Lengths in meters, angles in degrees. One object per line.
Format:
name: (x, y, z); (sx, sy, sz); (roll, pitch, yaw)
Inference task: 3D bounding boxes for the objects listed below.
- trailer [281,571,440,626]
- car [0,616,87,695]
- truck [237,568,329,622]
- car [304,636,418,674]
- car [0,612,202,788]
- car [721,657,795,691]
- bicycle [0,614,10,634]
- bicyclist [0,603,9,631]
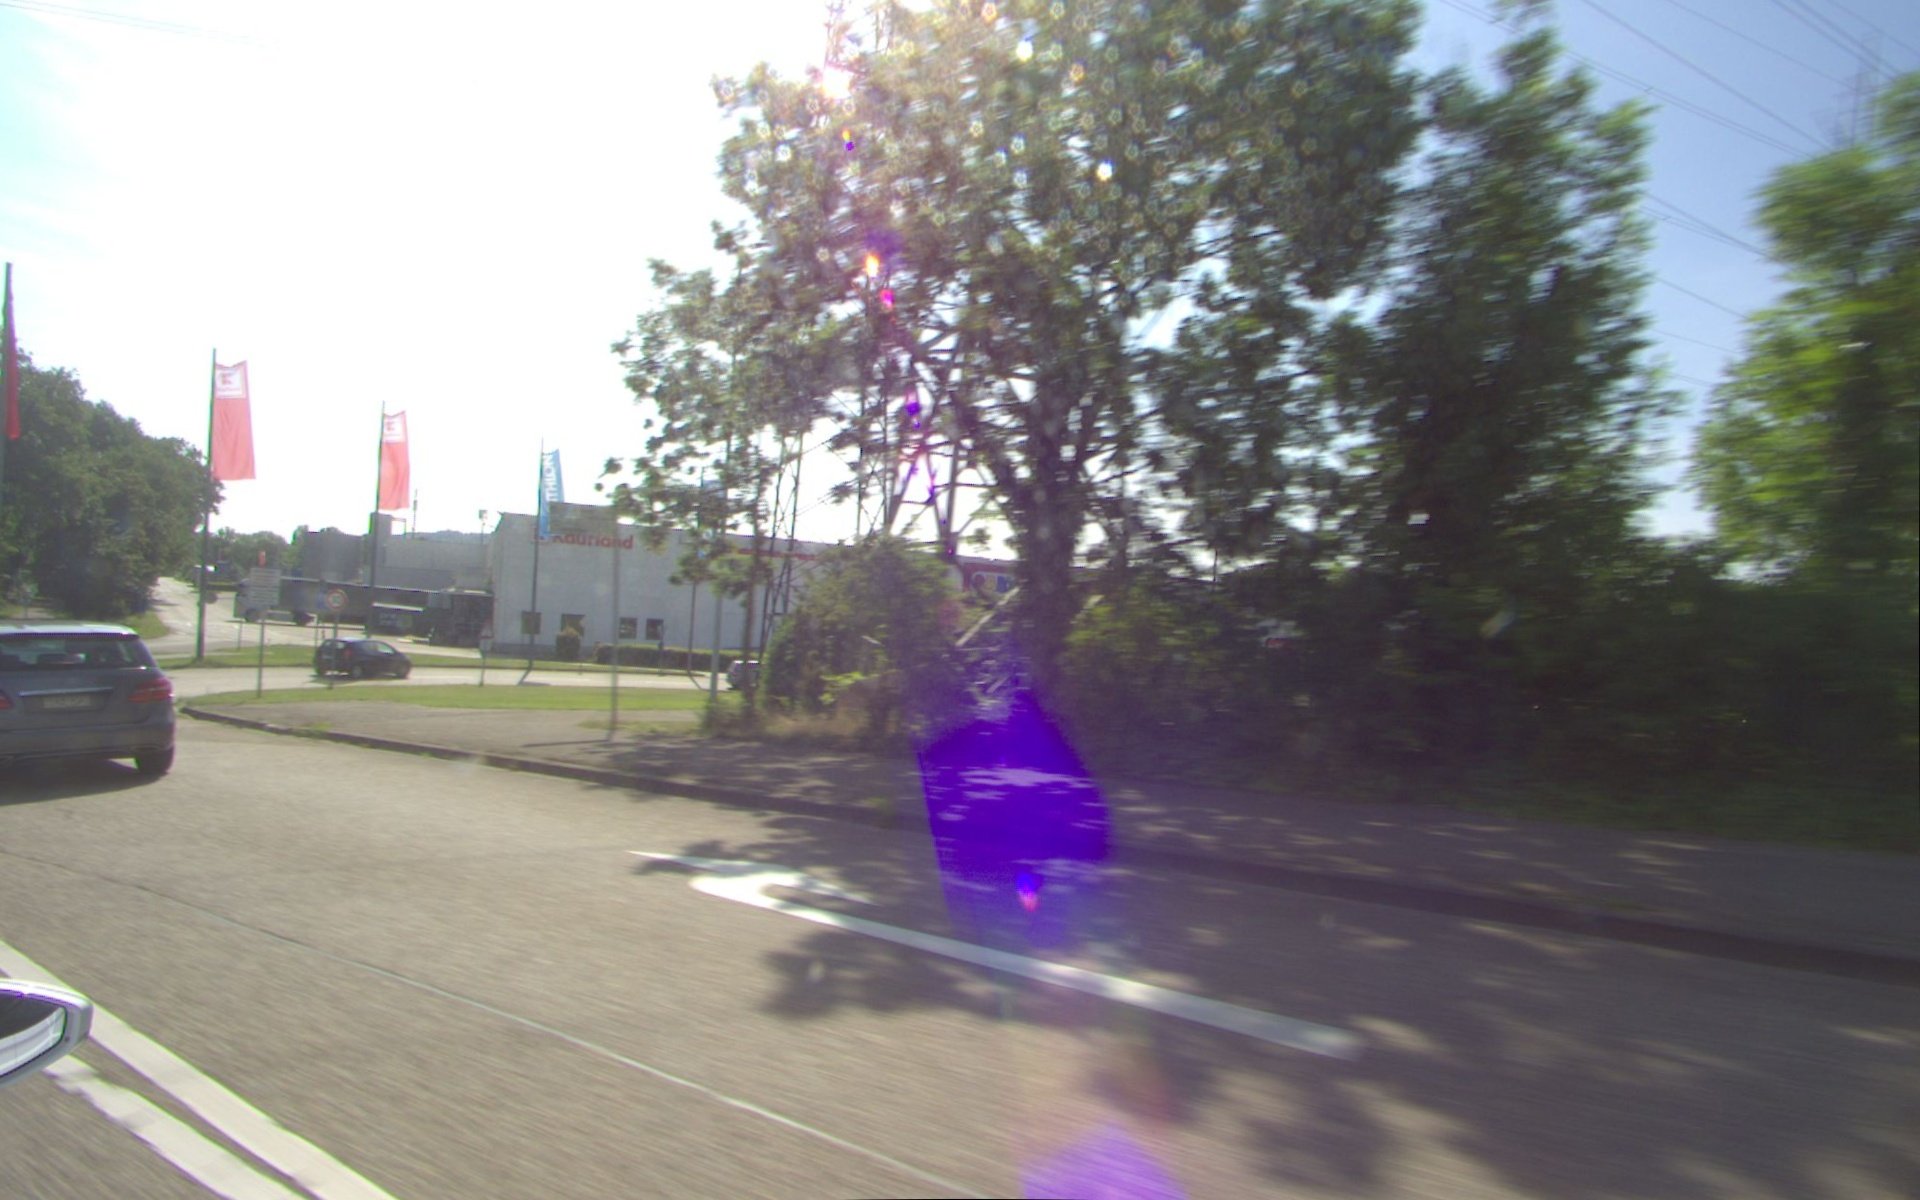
trailer: (-56.538, -0.110, 94.966); (12.539, 4.474, 3.735); (4, 0, -30)
car: (-20.530, 1.172, 21.975); (1.846, 1.547, 4.104); (6, -5, -43)
truck: (-61.905, -0.464, 91.823); (6.476, 4.474, 3.735); (4, 0, -30)
car: (-23.852, 2.238, 40.022); (1.746, 1.348, 3.741); (3, -3, 13)
car: (-9.770, 0.913, 10.480); (4.090, 1.549, 1.851); (0, -2, 36)
car: (-10.723, 3.944, 53.286); (3.447, 1.502, 1.614); (7, -4, -31)
bicycle: (-55.012, 1.381, 57.364); (0.719, 0.990, 2.165); (4, 0, -42)
bicyclist: (-54.977, 0.956, 57.343); (0.670, 1.554, 0.838); (3, 1, -41)
